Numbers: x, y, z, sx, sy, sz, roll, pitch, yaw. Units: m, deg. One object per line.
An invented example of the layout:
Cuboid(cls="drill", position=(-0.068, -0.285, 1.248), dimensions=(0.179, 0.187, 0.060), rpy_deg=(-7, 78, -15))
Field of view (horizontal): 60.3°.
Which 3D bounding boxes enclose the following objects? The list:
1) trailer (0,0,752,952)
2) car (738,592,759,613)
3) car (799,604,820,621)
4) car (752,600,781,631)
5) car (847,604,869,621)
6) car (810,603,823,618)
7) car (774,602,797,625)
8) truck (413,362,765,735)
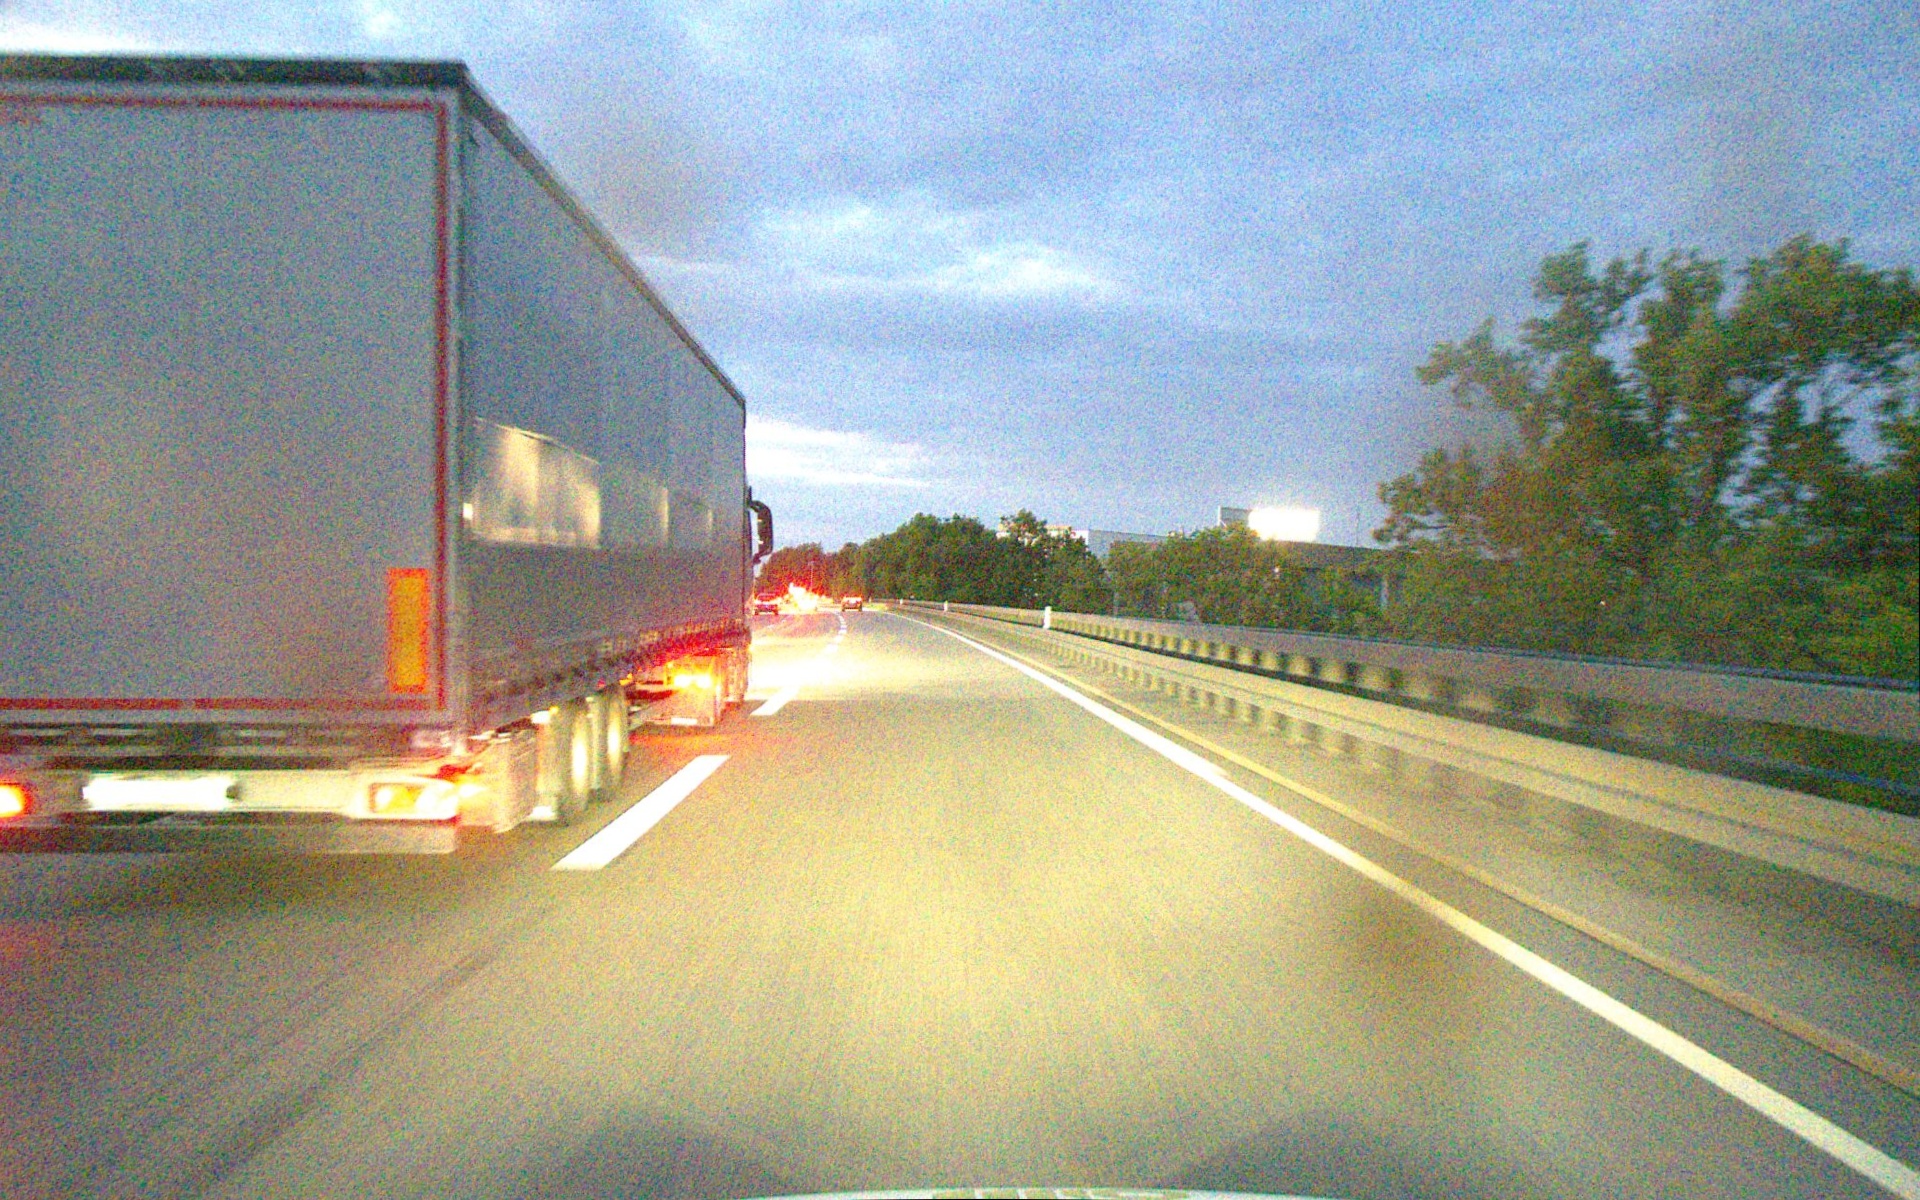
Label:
Cuboid(cls="trailer", position=(-4.160, -0.600, 14.455), dimensions=(3.479, 4.188, 15.054), rpy_deg=(0, 0, -3))
Cuboid(cls="car", position=(-23.704, 0.287, 185.381), dimensions=(1.954, 2.049, 3.996), rpy_deg=(1, -3, -3))
Cuboid(cls="car", position=(-14.141, 1.187, 155.117), dimensions=(1.848, 1.378, 3.995), rpy_deg=(1, -3, -4))
Cuboid(cls="car", position=(-14.930, 1.214, 127.645), dimensions=(1.954, 2.116, 3.995), rpy_deg=(1, -3, -4))
Cuboid(cls="car", position=(-9.532, 1.206, 153.812), dimensions=(1.954, 1.378, 3.995), rpy_deg=(1, -3, -4))
Cuboid(cls="car", position=(-22.434, 1.635, 258.461), dimensions=(1.954, 2.049, 3.995), rpy_deg=(1, -3, -4))
Cuboid(cls="car", position=(-17.545, 1.368, 166.377), dimensions=(1.953, 2.049, 3.998), rpy_deg=(1, -3, -1))
Cuboid(cls="truck", position=(-4.513, -0.556, 21.654), dimensions=(3.480, 4.163, 6.147), rpy_deg=(0, -1, -3))
